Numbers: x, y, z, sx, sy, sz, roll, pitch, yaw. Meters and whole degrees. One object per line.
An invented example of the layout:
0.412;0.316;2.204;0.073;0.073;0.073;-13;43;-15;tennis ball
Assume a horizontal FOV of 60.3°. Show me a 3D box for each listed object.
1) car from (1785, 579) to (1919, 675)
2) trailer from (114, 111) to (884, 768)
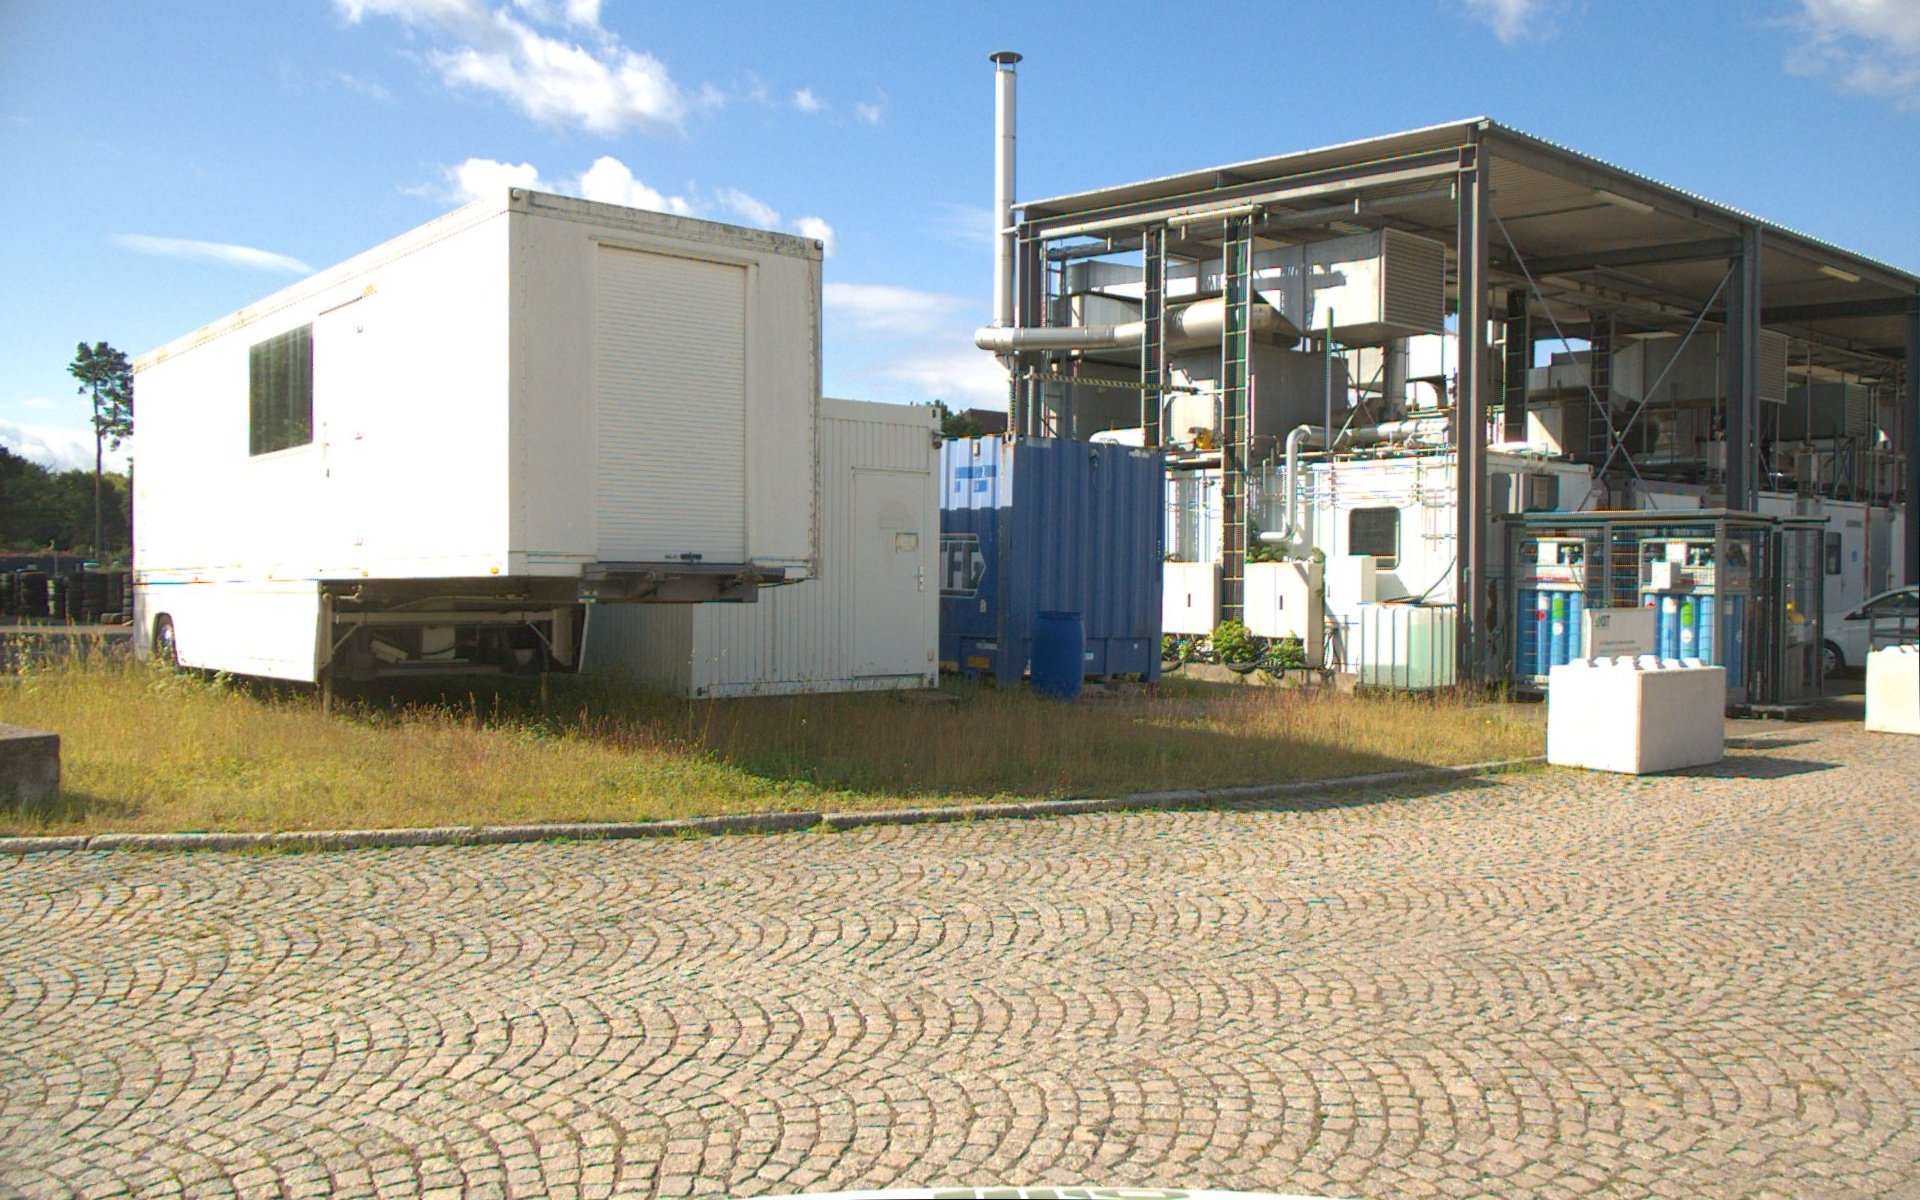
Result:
14.567;0.404;25.027;1.599;1.400;3.416;0;1;-45;car
-4.977;-1.072;15.101;2.754;3.979;10.733;0;1;-39;trailer
